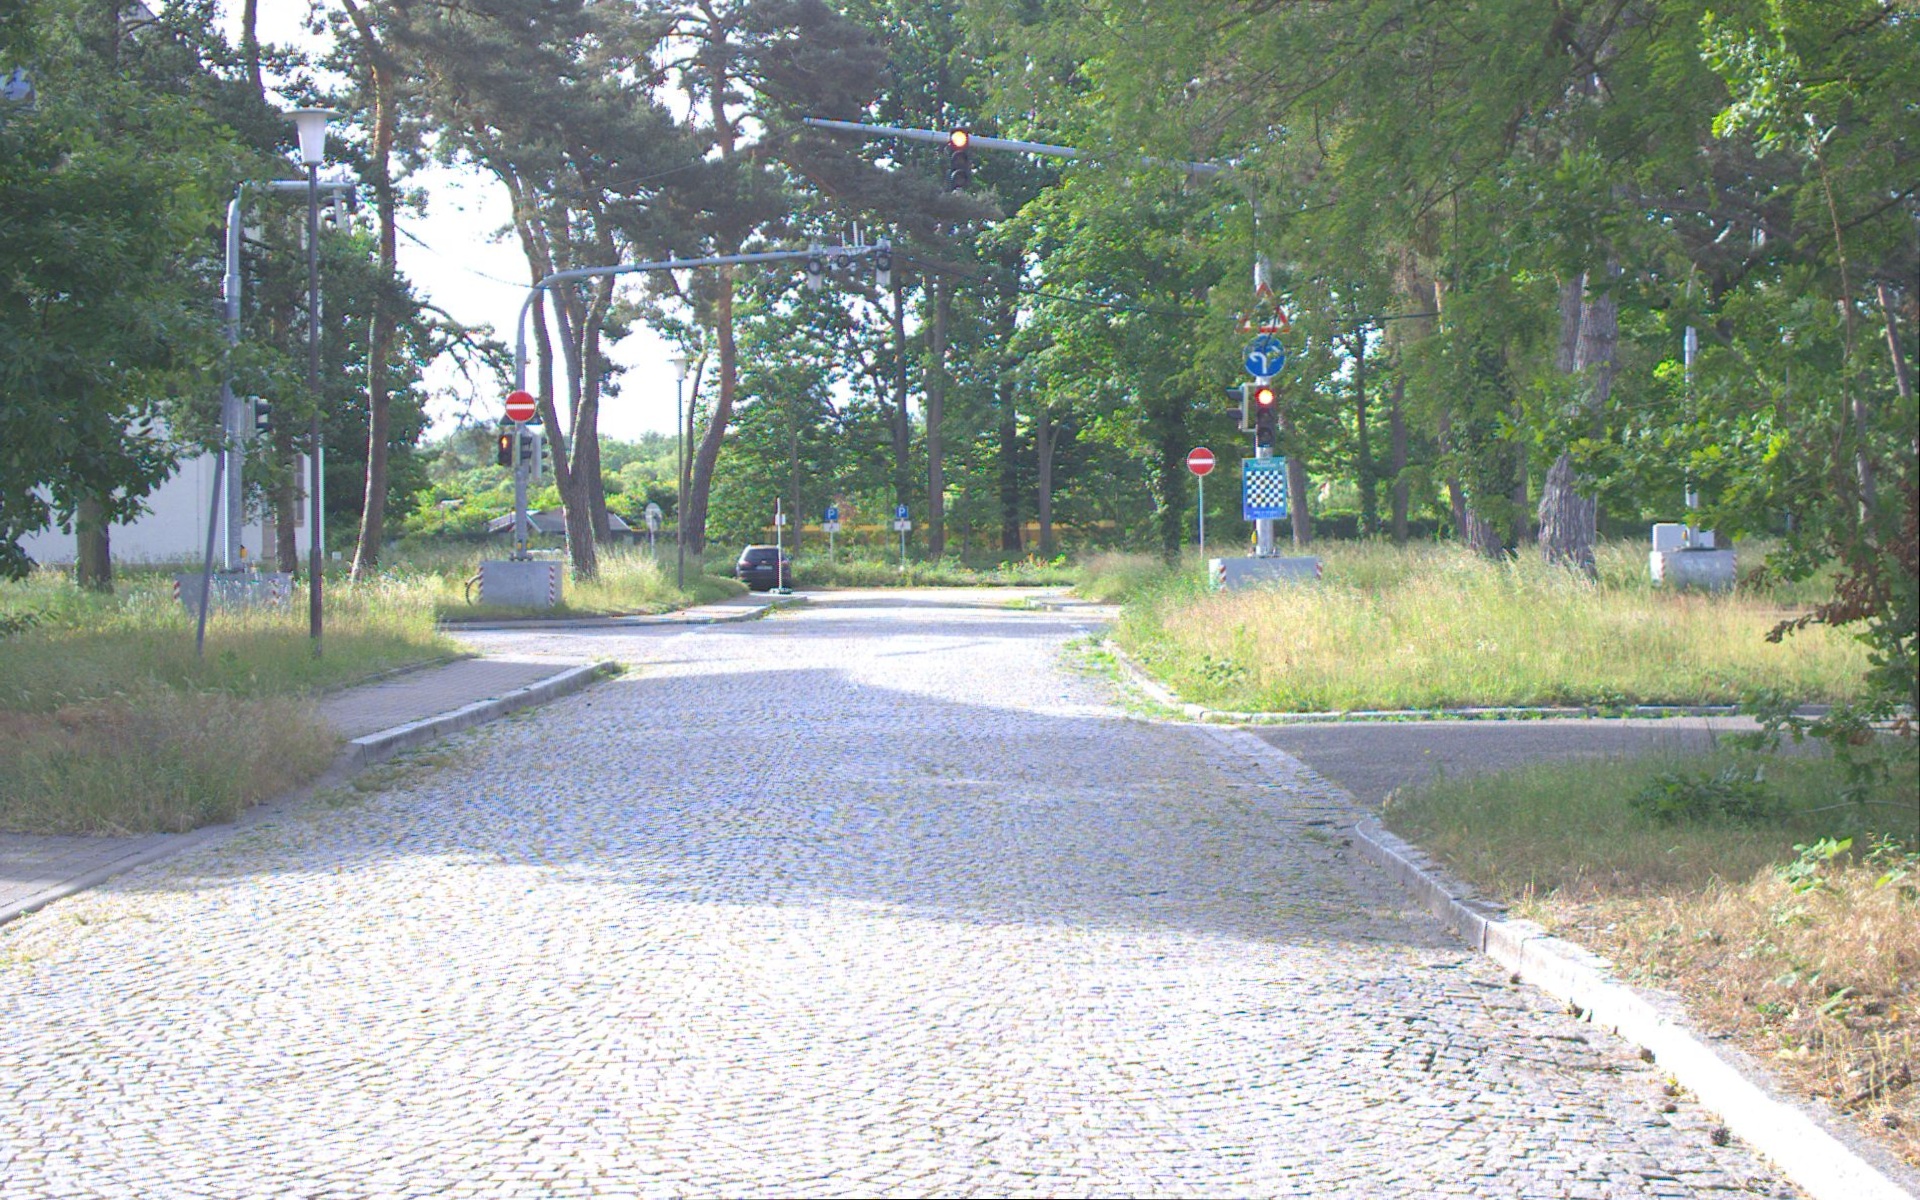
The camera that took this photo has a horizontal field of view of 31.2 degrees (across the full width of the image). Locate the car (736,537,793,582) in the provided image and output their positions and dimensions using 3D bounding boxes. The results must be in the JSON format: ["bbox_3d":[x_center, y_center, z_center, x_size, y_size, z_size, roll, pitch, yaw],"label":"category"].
[{"bbox_3d":[-6.570,-1.375,115.785,1.845,1.481,4.001,0,1,-2],"label":"car"}]

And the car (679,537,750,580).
[{"bbox_3d":[-8.579,-1.472,120.534,1.783,1.485,3.754,0,1,7],"label":"car"}]

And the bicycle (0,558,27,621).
[{"bbox_3d":[-16.999,-0.173,58.357,2.117,1.043,0.829,-1,1,-3],"label":"bicycle"}]
